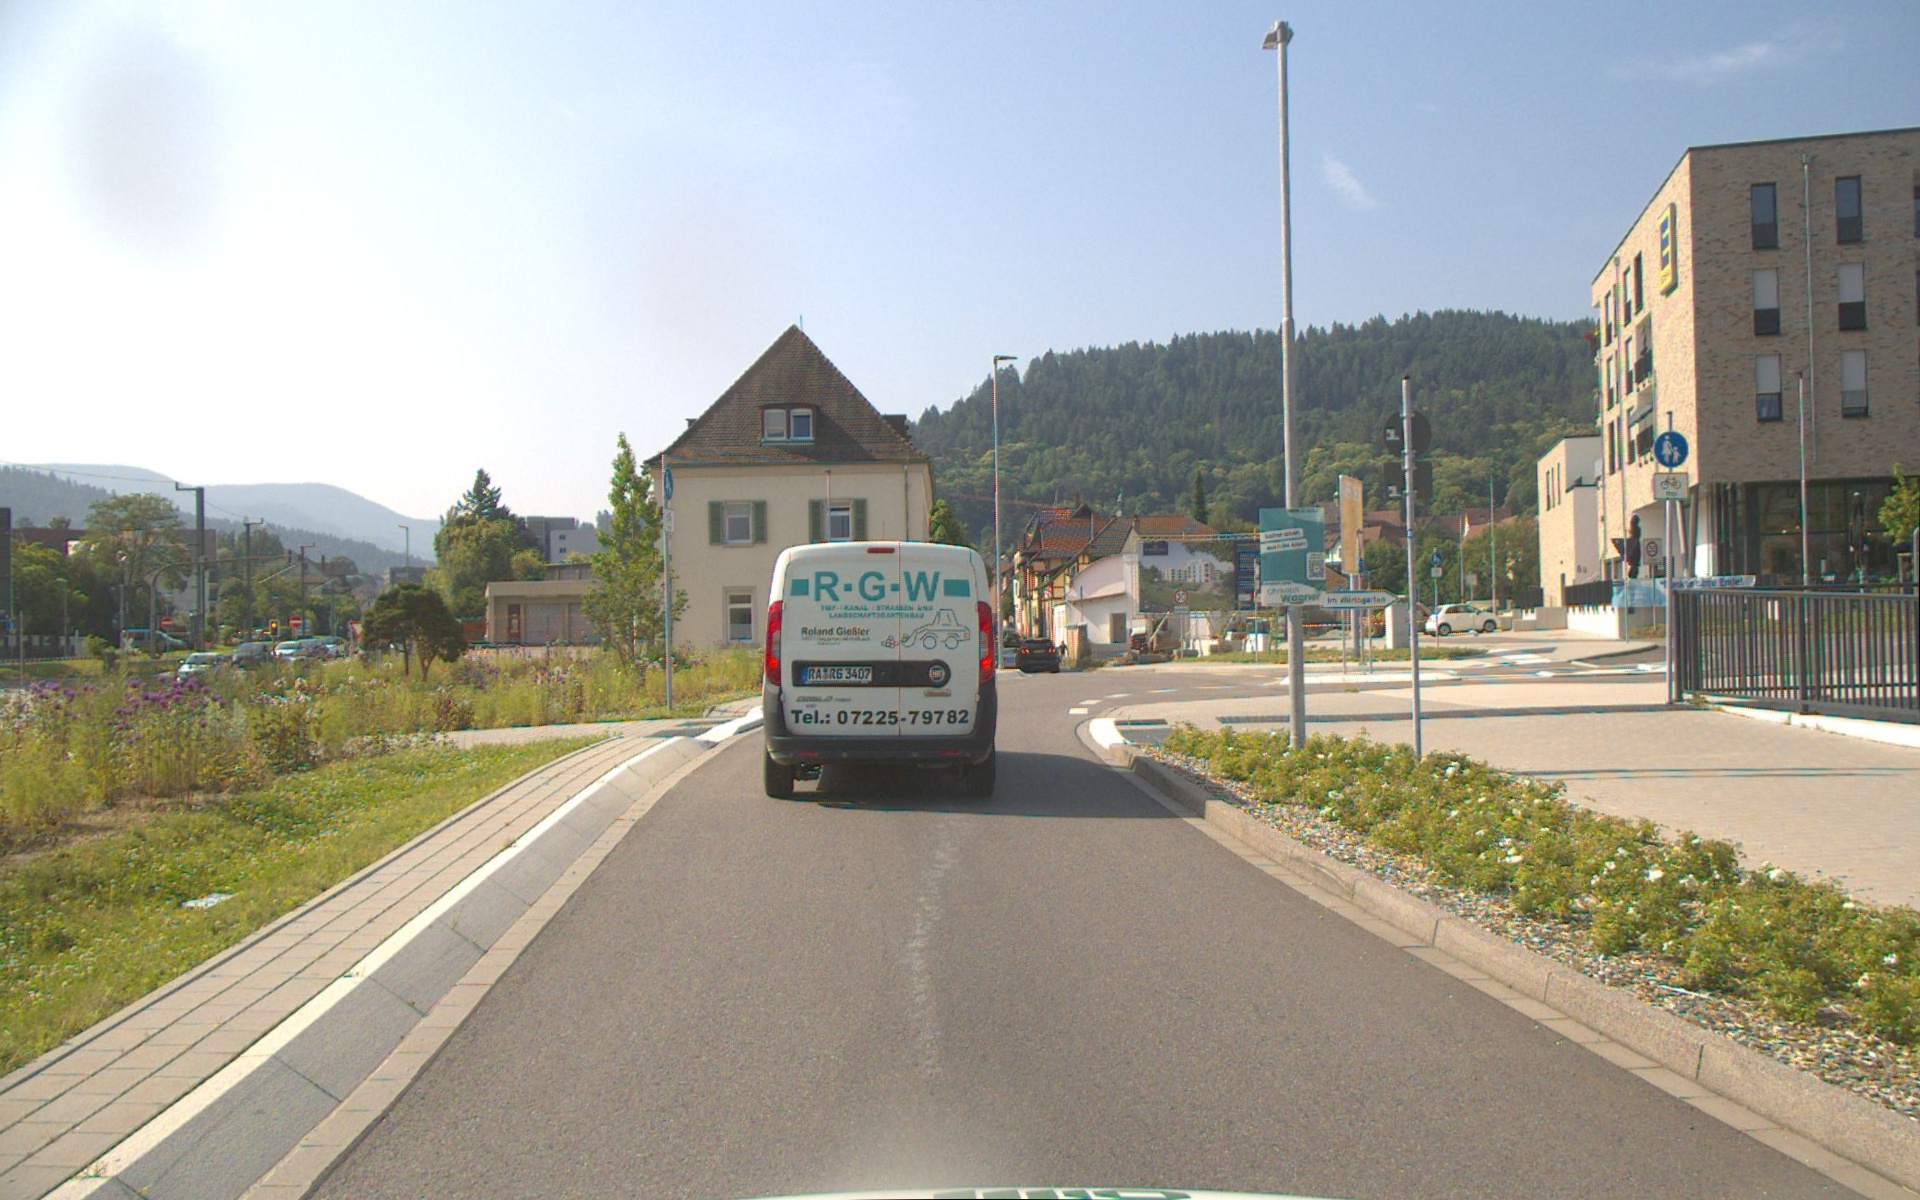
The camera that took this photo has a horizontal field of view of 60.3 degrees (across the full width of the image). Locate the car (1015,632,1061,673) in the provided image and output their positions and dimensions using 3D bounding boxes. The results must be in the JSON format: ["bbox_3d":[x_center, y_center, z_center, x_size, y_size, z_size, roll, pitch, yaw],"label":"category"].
[{"bbox_3d":[3.549,2.361,74.491,1.841,1.713,4.002,-3,-1,5],"label":"car"}]

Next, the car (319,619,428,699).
[{"bbox_3d":[-16.618,1.632,47.043,1.773,2.049,3.998,-2,0,-3],"label":"car"}]

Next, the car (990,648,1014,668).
[{"bbox_3d":[2.371,3.283,94.226,1.279,1.021,3.091,-3,-1,1],"label":"car"}]

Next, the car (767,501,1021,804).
[{"bbox_3d":[-0.487,0.355,13.845,1.769,2.114,4.603,0,0,-1],"label":"car"}]

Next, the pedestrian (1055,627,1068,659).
[{"bbox_3d":[6.684,2.851,109.021,0.677,2.049,0.636,-2,-2,-1],"label":"pedestrian"}]

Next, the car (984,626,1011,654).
[{"bbox_3d":[2.895,3.100,127.892,1.952,2.049,4.000,-3,-1,1],"label":"car"}]

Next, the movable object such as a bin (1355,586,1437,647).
[{"bbox_3d":[14.379,0.550,54.623,2.391,1.876,1.429,-3,-2,9],"label":"movable object such as a bin"}]

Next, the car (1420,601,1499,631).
[{"bbox_3d":[24.556,0.781,81.388,3.403,1.326,1.469,-2,0,1],"label":"car"}]
